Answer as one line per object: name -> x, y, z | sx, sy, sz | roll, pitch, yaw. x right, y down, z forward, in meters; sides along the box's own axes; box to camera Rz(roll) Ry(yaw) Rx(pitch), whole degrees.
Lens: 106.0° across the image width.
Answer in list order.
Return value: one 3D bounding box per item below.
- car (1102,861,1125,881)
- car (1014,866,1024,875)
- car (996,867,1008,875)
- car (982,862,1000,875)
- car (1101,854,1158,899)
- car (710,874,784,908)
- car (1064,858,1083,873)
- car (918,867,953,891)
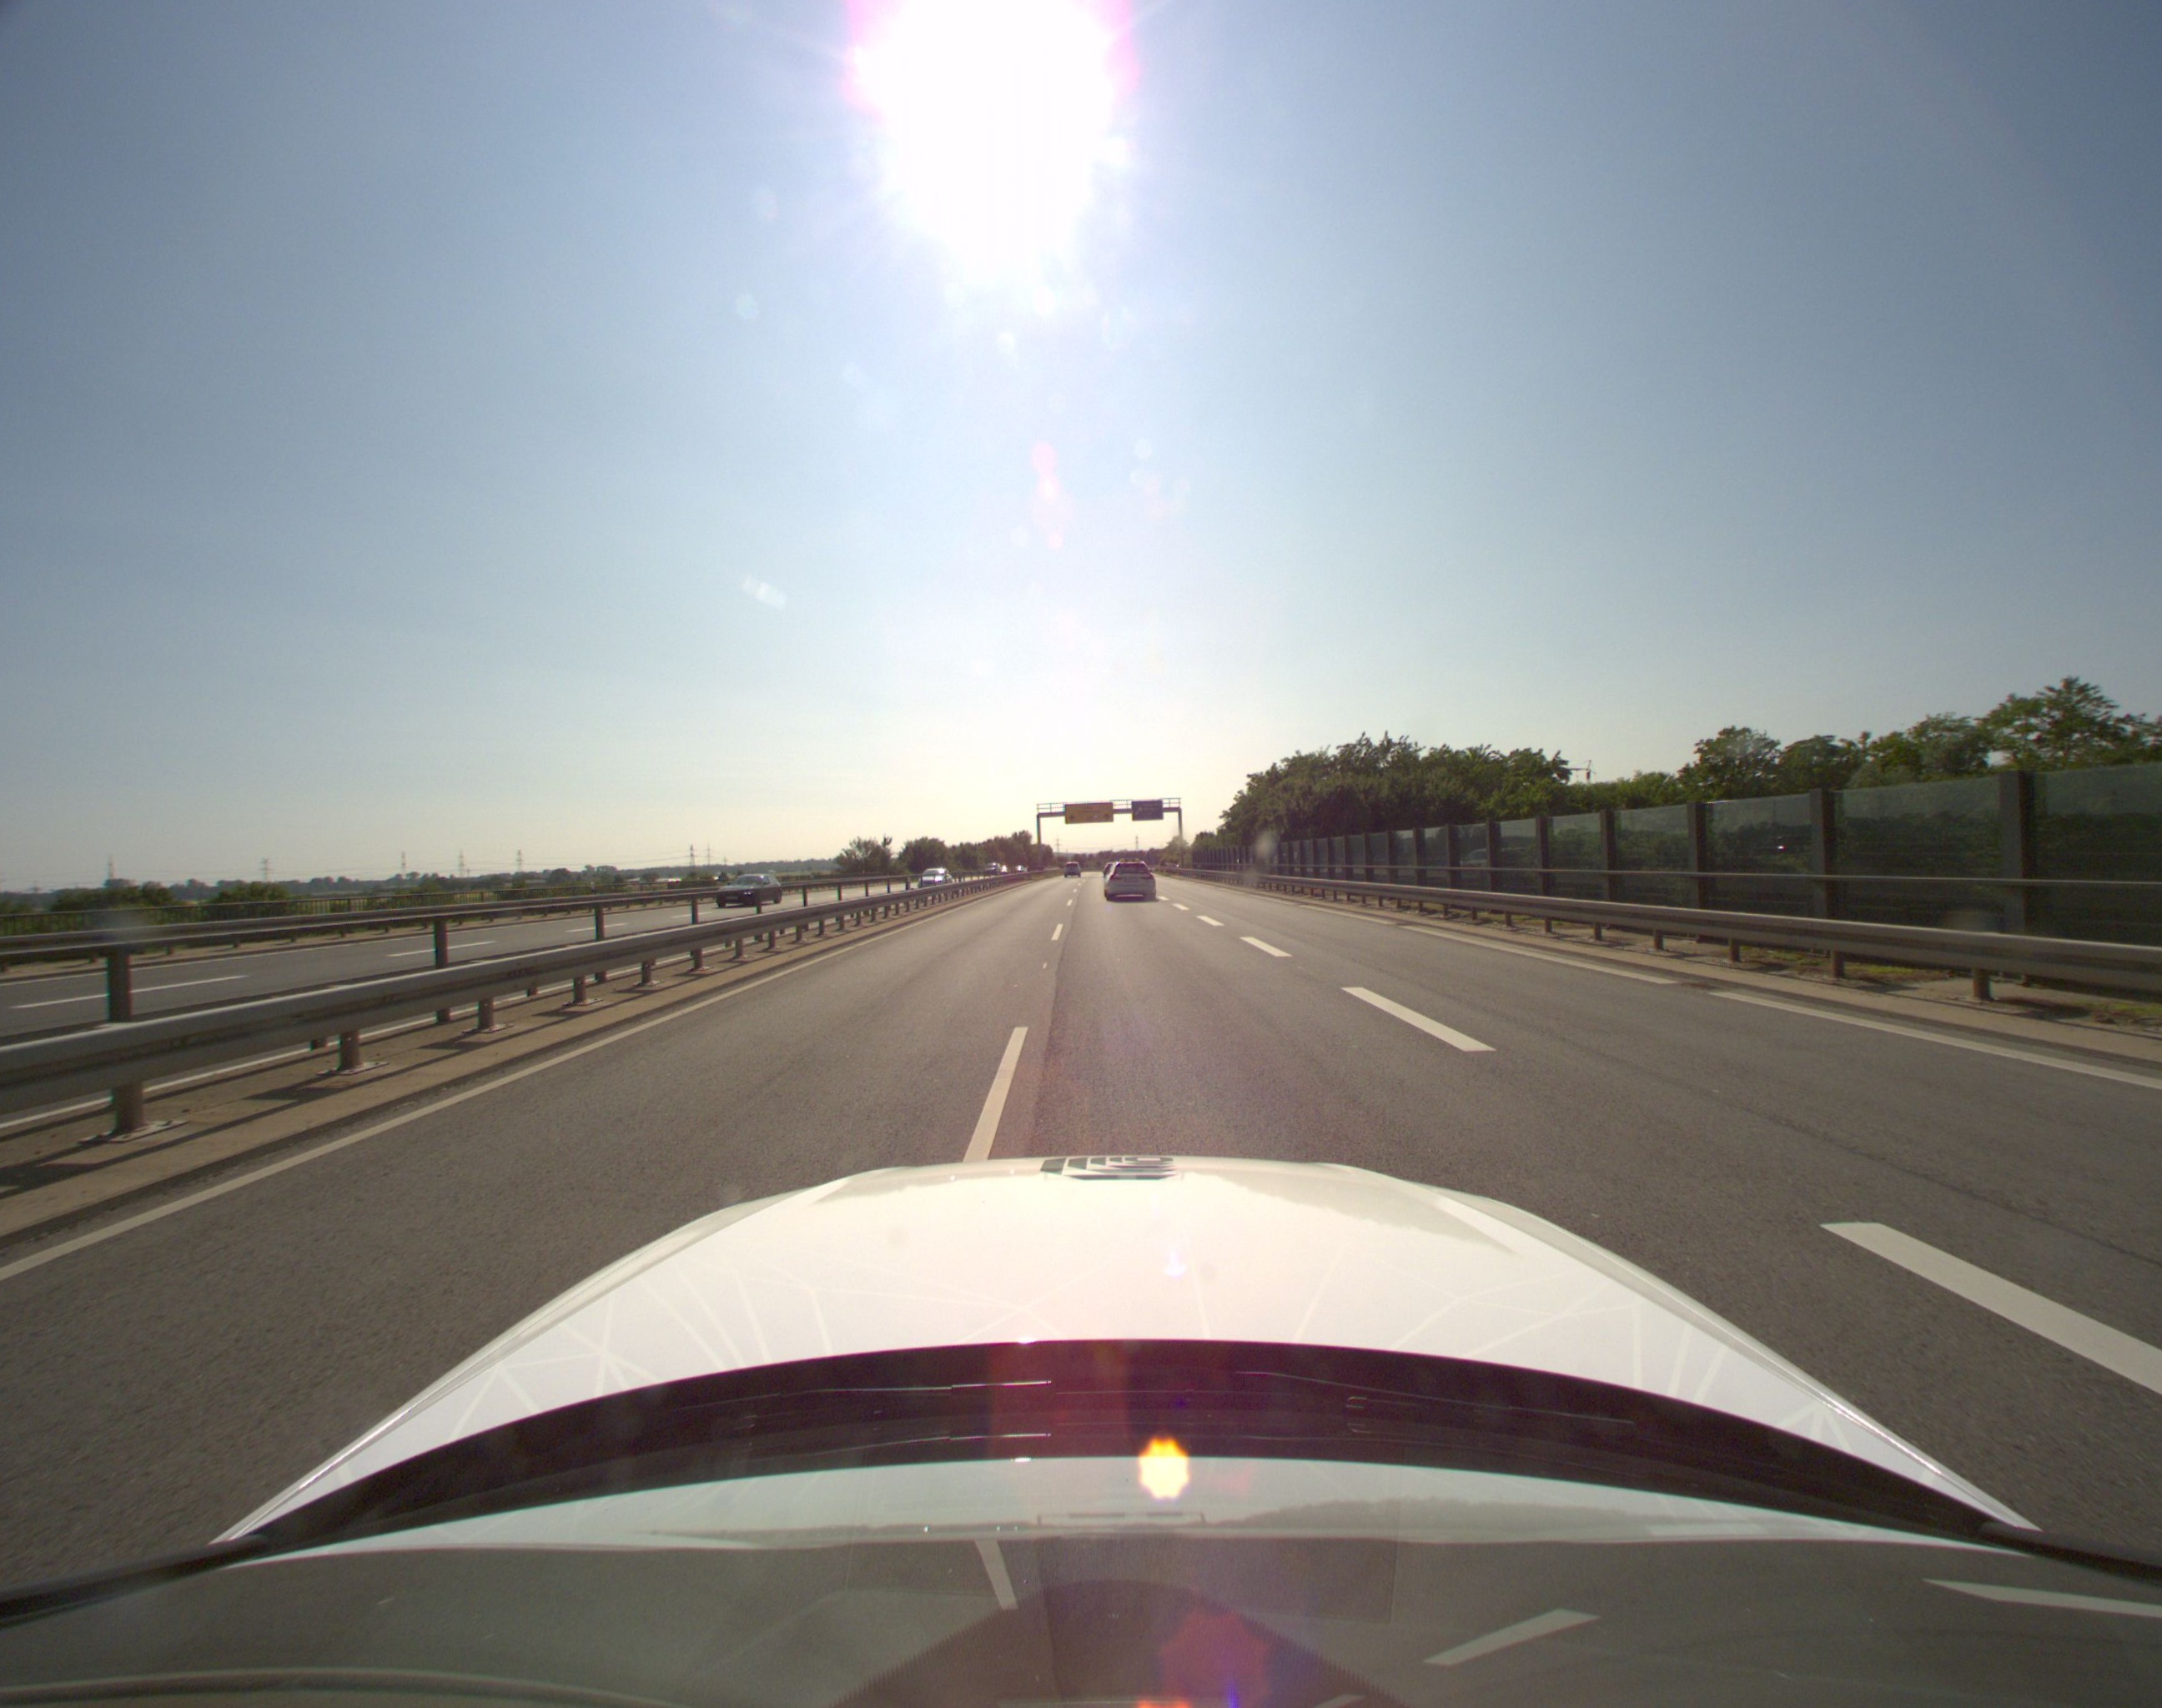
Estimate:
car -> 2.698, 1.434, 68.991 | 1.787, 1.543, 3.670 | -1, -1, 0
car -> -11.782, 3.085, 154.982 | 1.727, 1.617, 4.002 | -1, 0, 0
car -> -13.096, 2.847, 135.381 | 1.561, 1.270, 3.715 | -1, 0, 0
car -> -13.441, 2.135, 121.392 | 1.986, 1.906, 4.419 | -2, -1, 2
car -> 1.826, 0.826, 31.738 | 1.952, 1.601, 4.106 | -1, 0, 0
car -> -15.409, 1.659, 37.802 | 1.774, 1.384, 3.999 | -1, 0, 0
car -> -0.745, 1.209, 84.470 | 1.787, 1.503, 4.042 | -1, -1, 0
car -> -9.181, 1.561, 51.595 | 1.547, 1.417, 3.668 | -1, 0, 0
